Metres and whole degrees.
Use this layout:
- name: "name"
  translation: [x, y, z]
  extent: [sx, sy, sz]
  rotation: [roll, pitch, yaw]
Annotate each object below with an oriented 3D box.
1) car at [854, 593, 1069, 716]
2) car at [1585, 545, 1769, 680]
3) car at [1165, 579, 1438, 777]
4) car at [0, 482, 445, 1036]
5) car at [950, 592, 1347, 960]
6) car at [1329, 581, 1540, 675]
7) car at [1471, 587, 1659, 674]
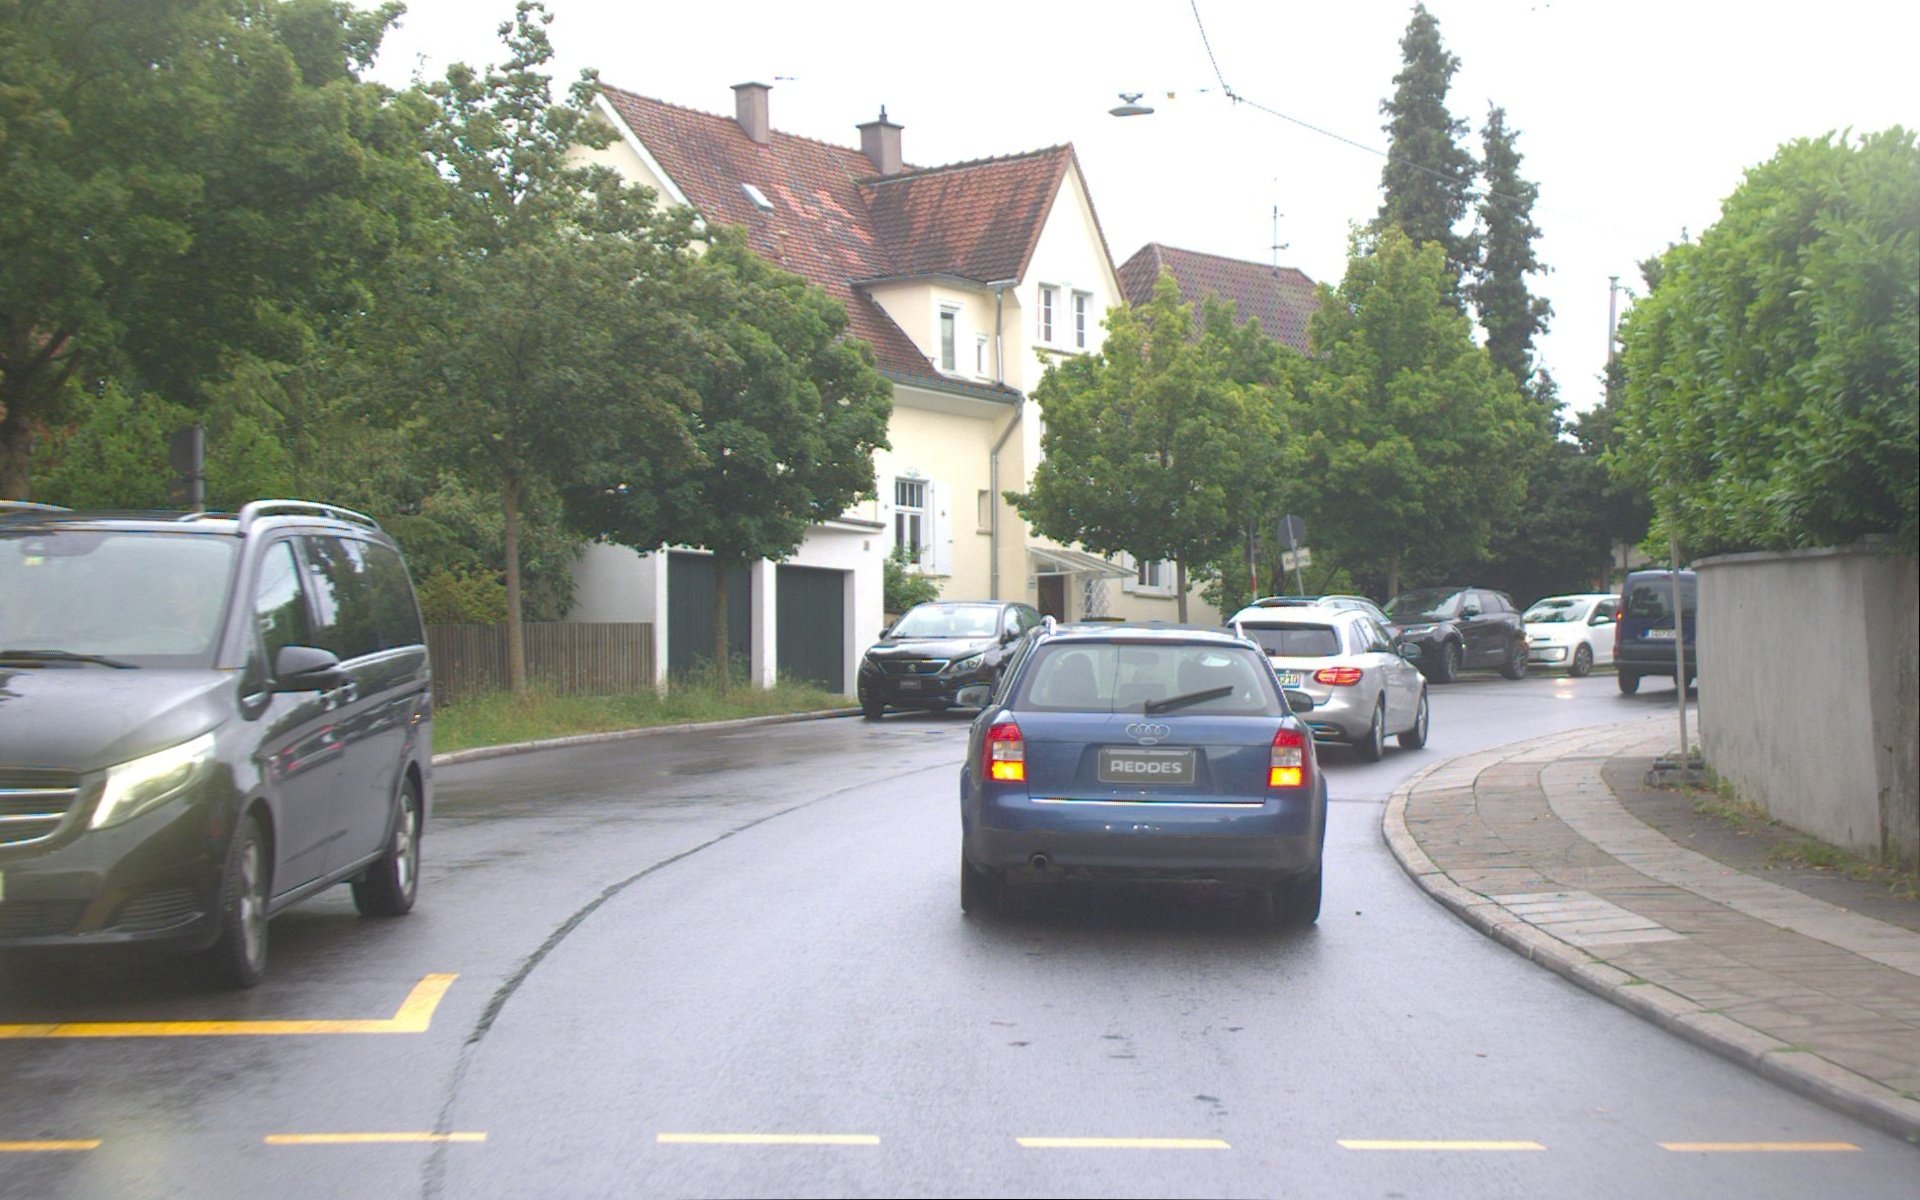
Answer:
- name: "car"
  translation: [0.072, 0.665, 43.741]
  extent: [1.671, 1.461, 3.892]
  rotation: [-2, 0, 16]
- name: "car"
  translation: [10.844, 0.159, 51.777]
  extent: [1.736, 1.762, 4.230]
  rotation: [-1, 2, 25]
- name: "car"
  translation: [3.460, 0.720, 34.094]
  extent: [1.977, 1.629, 4.233]
  rotation: [-2, 2, 15]
- name: "car"
  translation: [-3.558, 0.559, 14.365]
  extent: [1.897, 1.883, 5.153]
  rotation: [-2, 0, 1]
- name: "car"
  translation: [0.874, 0.791, 17.521]
  extent: [1.733, 1.461, 4.000]
  rotation: [-2, 2, 1]
- name: "car"
  translation: [8.073, 0.458, 58.260]
  extent: [1.737, 1.540, 4.201]
  rotation: [-1, 0, 36]
- name: "car"
  translation: [10.976, 0.536, 62.181]
  extent: [1.737, 1.461, 3.992]
  rotation: [-1, 0, 36]
